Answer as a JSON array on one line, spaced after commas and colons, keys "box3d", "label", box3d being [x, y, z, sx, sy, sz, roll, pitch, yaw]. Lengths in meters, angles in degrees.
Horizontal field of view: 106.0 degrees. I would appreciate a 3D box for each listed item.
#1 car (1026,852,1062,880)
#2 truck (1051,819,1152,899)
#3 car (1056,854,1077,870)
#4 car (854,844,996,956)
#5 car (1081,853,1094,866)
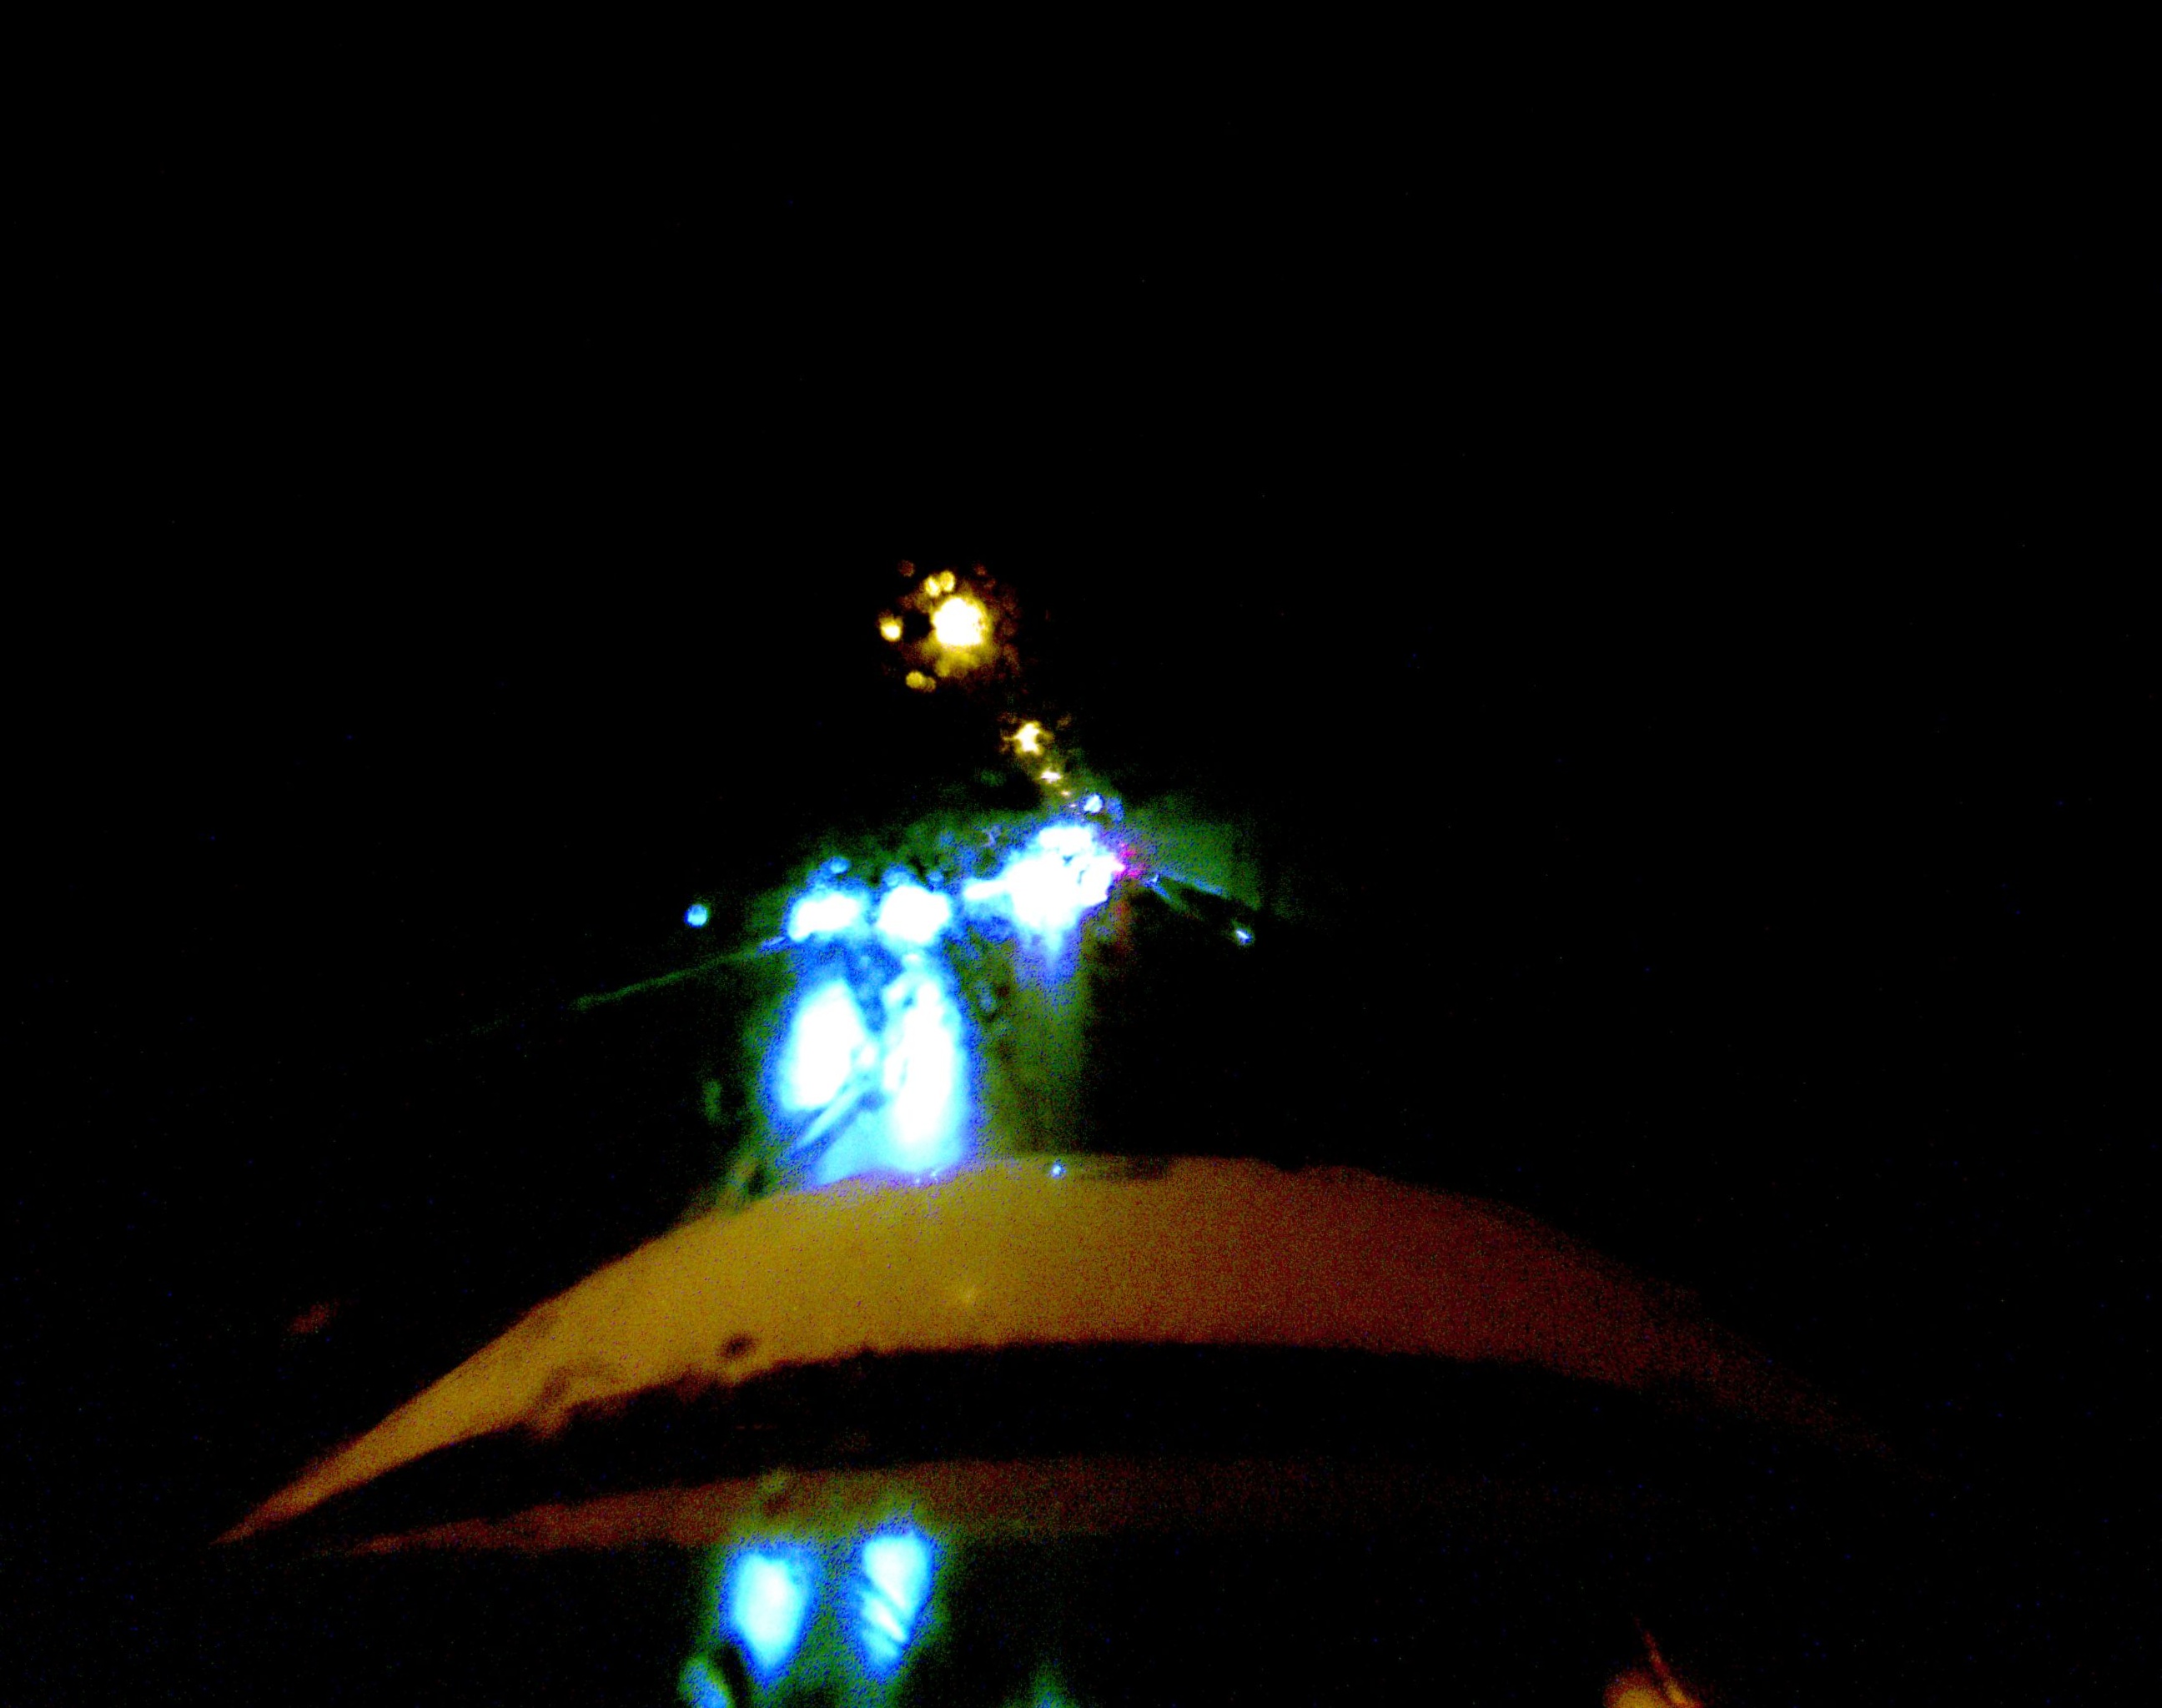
[{"box3d": [-2.083, 0.671, 46.971, 1.728, 1.441, 3.838, -2, 0, 2], "label": "car"}, {"box3d": [0.891, 0.179, 33.750, 3.522, 2.693, 8.960, -3, 0, 2], "label": "truck"}, {"box3d": [-1.350, 0.758, 76.672, 1.753, 1.480, 3.887, -1, 0, 1], "label": "car"}, {"box3d": [-2.490, 0.673, 13.834, 1.563, 1.632, 3.731, -1, 0, 2], "label": "car"}, {"box3d": [0.899, 0.760, 113.019, 1.723, 1.792, 3.933, -2, 0, 1], "label": "car"}]
